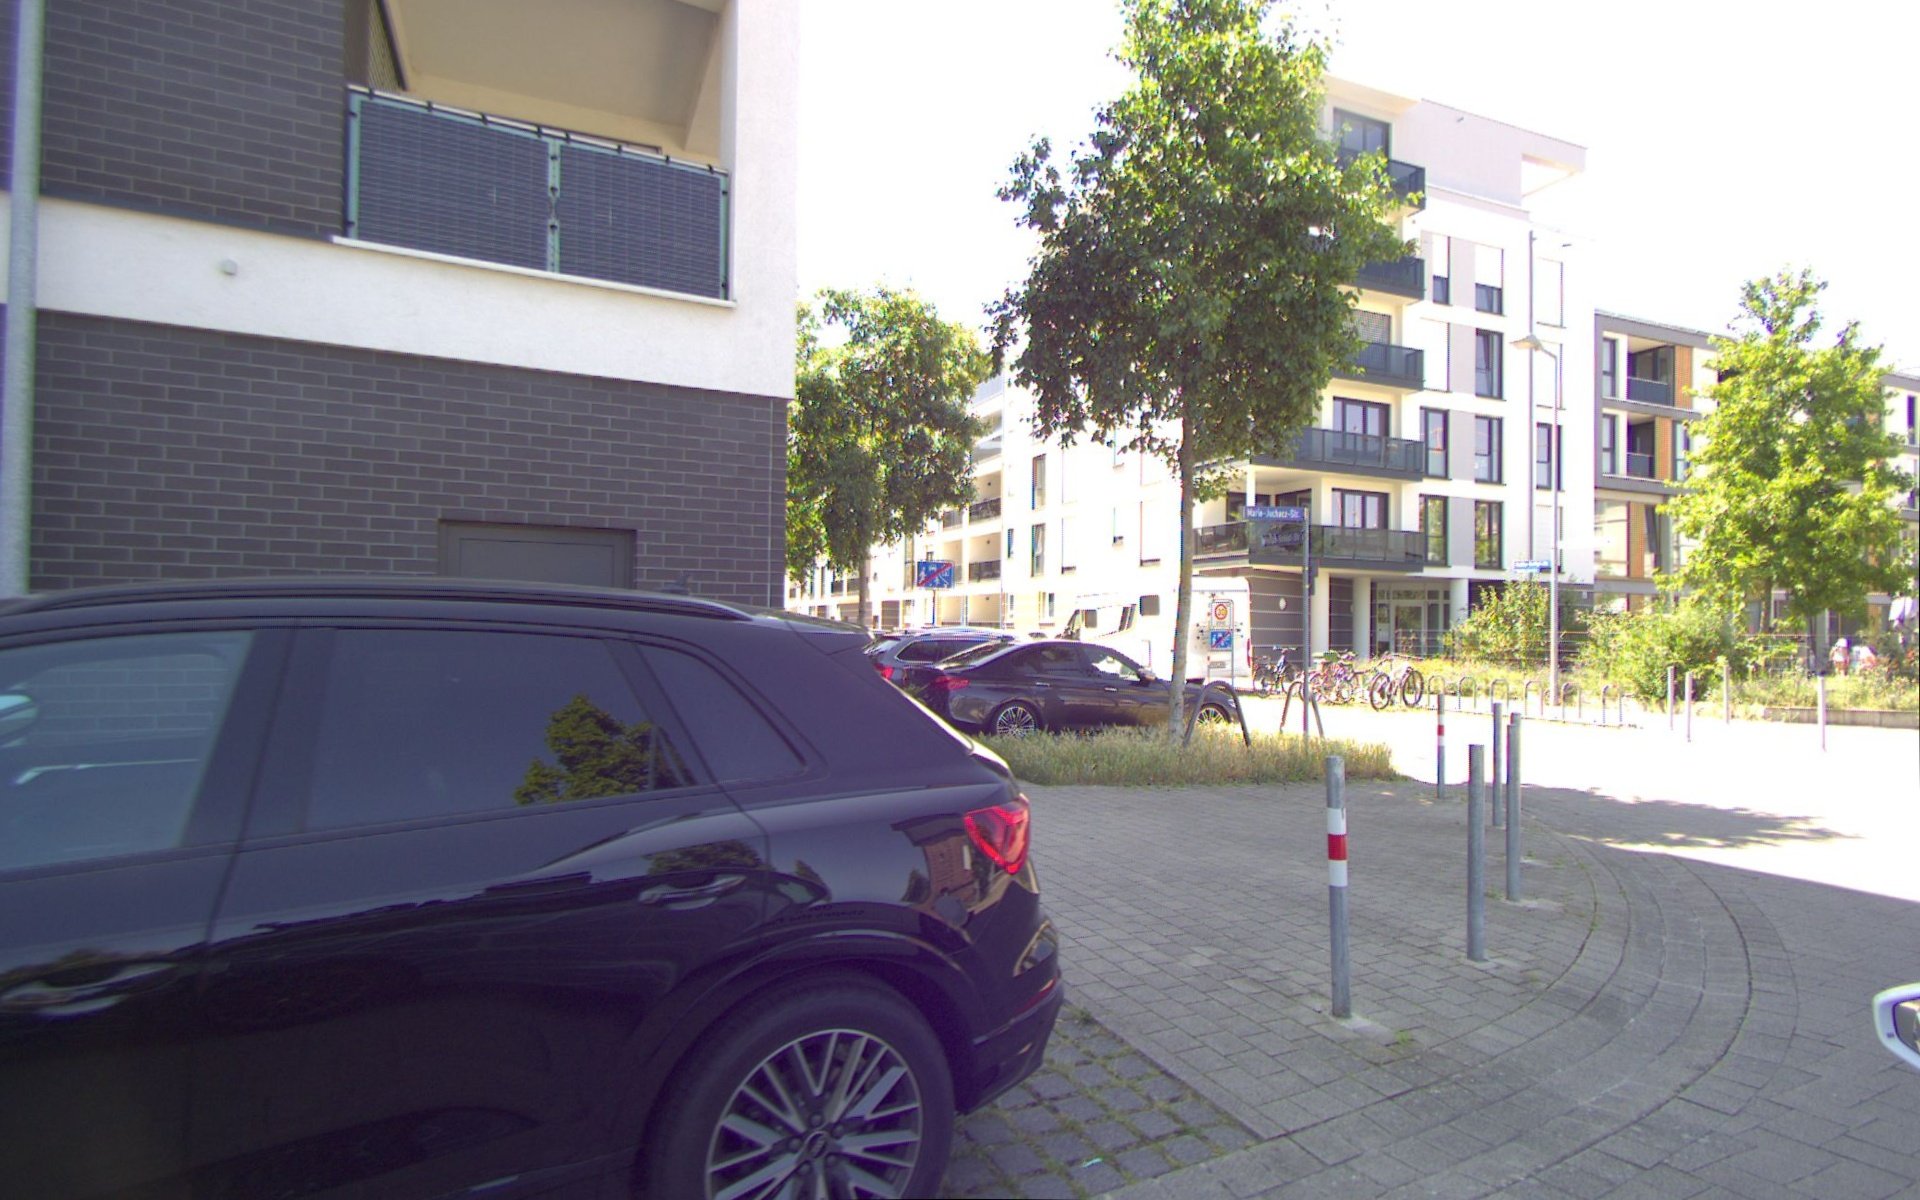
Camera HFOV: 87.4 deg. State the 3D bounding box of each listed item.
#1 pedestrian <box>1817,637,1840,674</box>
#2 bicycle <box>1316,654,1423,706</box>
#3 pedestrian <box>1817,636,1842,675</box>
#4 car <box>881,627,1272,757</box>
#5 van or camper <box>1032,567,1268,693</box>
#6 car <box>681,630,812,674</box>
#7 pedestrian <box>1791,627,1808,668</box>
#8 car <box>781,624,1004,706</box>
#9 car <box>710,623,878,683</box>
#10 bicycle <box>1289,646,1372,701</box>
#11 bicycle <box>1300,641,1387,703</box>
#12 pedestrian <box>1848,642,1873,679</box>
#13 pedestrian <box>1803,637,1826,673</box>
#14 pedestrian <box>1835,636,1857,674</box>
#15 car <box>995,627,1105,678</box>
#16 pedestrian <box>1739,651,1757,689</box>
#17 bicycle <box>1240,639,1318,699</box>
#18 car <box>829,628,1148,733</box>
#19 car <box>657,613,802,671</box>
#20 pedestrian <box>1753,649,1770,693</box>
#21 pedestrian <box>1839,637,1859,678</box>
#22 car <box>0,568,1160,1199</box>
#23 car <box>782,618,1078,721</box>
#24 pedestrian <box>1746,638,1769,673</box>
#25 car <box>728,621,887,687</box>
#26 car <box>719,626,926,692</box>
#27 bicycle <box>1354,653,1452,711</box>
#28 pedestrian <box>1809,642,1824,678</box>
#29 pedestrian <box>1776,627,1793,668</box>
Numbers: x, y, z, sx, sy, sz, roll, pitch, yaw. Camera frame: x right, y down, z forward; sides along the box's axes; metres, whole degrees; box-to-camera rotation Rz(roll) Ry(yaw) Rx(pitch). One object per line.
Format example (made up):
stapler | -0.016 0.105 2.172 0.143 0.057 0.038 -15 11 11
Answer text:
pedestrian | 25.045 1.589 28.963 0.403 1.038 0.315 2 -2 9
bicycle | 8.449 1.635 20.779 1.826 0.988 0.943 -1 -1 -10
pedestrian | 23.499 1.489 27.150 0.403 1.038 0.282 2 -2 9
car | 1.628 1.168 13.635 5.047 1.504 1.916 2 -2 -26
van or camper | 4.852 0.865 27.557 2.413 2.944 7.783 2 -3 -24
car | -7.785 1.842 36.614 4.374 1.509 1.988 1 -2 -25
pedestrian | 31.569 1.776 37.786 0.389 1.528 0.462 1 -1 25
car | -1.388 1.343 20.757 4.209 1.551 1.811 3 -2 -26
car | -4.917 1.577 29.909 4.516 1.615 1.952 3 -3 -28
bicycle | 8.003 1.571 21.683 1.861 1.125 0.473 1 -1 -22
bicycle | 8.151 1.512 21.339 1.829 1.239 0.553 0 -1 -22
pedestrian | 23.836 1.600 26.592 0.285 0.984 0.387 1 -1 -11
pedestrian | 24.539 1.575 28.852 0.403 1.038 0.315 2 -2 9
pedestrian | 25.034 1.551 28.380 0.408 1.039 0.393 3 -2 -34
car | 2.904 1.691 33.521 1.788 1.524 4.235 -1 -1 -25
pedestrian | 32.159 2.841 40.990 0.453 1.528 0.397 1 -1 6
bicycle | 7.388 1.563 23.220 1.905 1.239 0.817 -1 0 -39
car | 0.497 1.300 16.006 4.770 1.468 1.817 4 -3 -25
car | -8.990 1.594 39.177 5.280 2.138 2.177 0 -1 -21
pedestrian | 31.997 2.834 40.094 0.458 1.713 0.393 2 -1 -32
pedestrian | 23.895 1.541 27.010 0.285 1.067 0.286 1 -1 -5
car | -1.820 0.716 2.295 4.342 1.540 1.766 1 0 -29
car | -0.518 1.202 18.188 4.977 1.654 2.029 2 -1 -26
pedestrian | 23.138 1.605 29.152 0.404 0.999 0.370 1 -2 18
car | -4.171 1.469 27.382 3.934 1.650 1.940 3 -2 -21
car | -3.422 1.481 25.056 4.797 1.475 1.819 3 -2 -23
bicycle | 8.791 1.601 19.889 2.013 1.016 0.867 0 -1 -35
pedestrian | 25.500 1.776 29.916 0.317 1.067 0.289 0 -2 44
pedestrian | 31.234 1.794 38.040 0.389 1.528 0.462 1 -1 25
